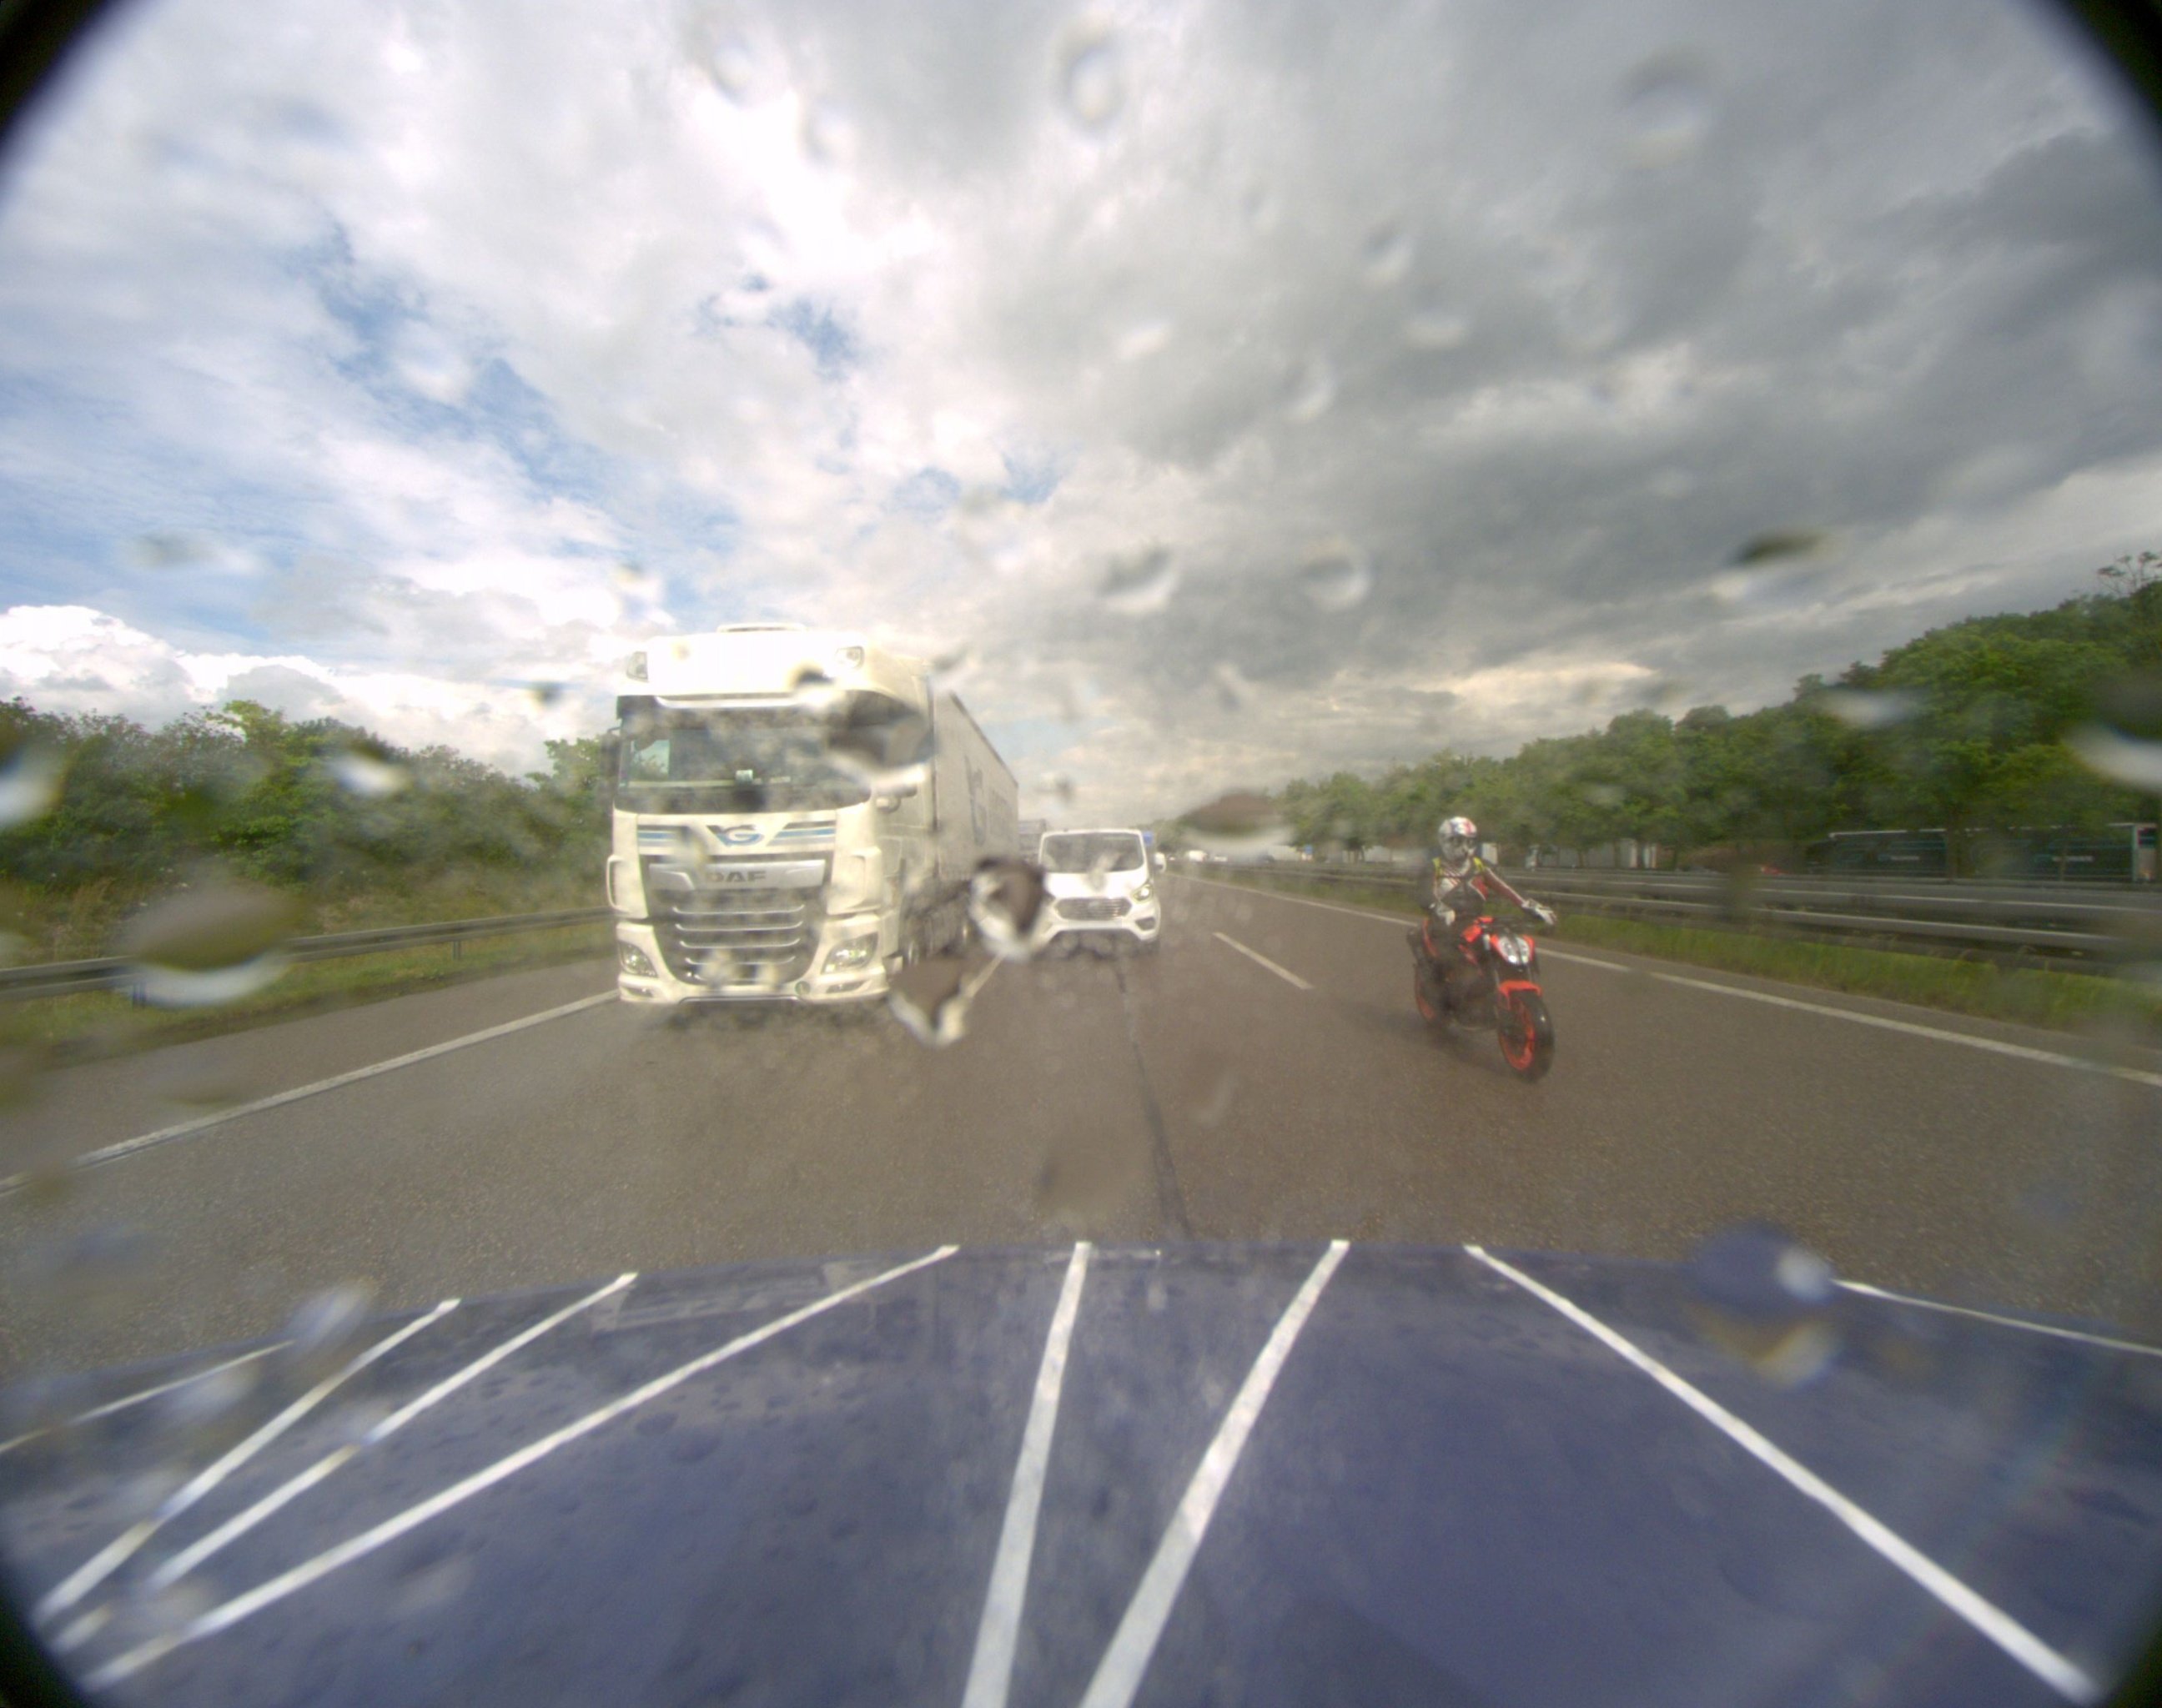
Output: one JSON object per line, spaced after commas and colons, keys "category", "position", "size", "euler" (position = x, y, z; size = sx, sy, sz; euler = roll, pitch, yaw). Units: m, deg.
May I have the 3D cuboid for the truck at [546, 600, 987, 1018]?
{"category": "truck", "position": [-3.399, -0.434, 10.482], "size": [3.293, 3.868, 6.395], "euler": [-2, 0, -1]}

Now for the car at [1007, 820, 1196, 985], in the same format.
{"category": "car", "position": [0.254, 0.600, 12.300], "size": [2.350, 2.033, 5.142], "euler": [-2, 1, 0]}

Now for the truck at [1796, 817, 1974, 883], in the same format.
{"category": "truck", "position": [57.083, -0.313, 54.407], "size": [3.797, 4.209, 8.416], "euler": [-2, 1, 1]}

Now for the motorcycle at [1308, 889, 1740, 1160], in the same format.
{"category": "motorcycle", "position": [2.852, 0.979, 5.642], "size": [1.188, 1.219, 3.193], "euler": [-2, 1, -3]}

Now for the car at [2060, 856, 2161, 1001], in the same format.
{"category": "car", "position": [14.594, 0.947, 7.923], "size": [2.056, 1.765, 5.208], "euler": [-2, 1, 0]}

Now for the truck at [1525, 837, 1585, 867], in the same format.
{"category": "truck", "position": [55.366, -0.263, 88.922], "size": [3.362, 3.254, 5.505], "euler": [-2, 1, -4]}

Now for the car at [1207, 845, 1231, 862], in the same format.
{"category": "car", "position": [17.705, -0.116, 97.561], "size": [2.179, 2.034, 4.651], "euler": [-2, 1, 0]}

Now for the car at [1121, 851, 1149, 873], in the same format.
{"category": "car", "position": [5.460, 0.811, 77.129], "size": [2.350, 2.033, 5.142], "euler": [-2, 1, 0]}

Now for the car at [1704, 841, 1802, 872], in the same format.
{"category": "car", "position": [56.716, 0.164, 64.354], "size": [2.800, 2.468, 6.209], "euler": [-2, 1, 1]}

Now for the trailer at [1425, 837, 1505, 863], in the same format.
{"category": "trailer", "position": [53.172, -0.571, 105.871], "size": [2.832, 3.385, 13.417], "euler": [-1, 0, -7]}

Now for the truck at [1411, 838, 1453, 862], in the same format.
{"category": "truck", "position": [52.271, -0.570, 113.364], "size": [2.869, 3.436, 5.893], "euler": [-2, 1, -7]}

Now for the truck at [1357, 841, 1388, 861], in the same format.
{"category": "truck", "position": [49.527, -0.465, 129.265], "size": [2.663, 3.249, 5.081], "euler": [-2, 1, -10]}

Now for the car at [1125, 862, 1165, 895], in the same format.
{"category": "car", "position": [4.447, 1.695, 53.627], "size": [2.350, 2.033, 5.142], "euler": [-2, 1, 0]}

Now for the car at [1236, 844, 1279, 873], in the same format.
{"category": "car", "position": [13.587, 0.322, 58.722], "size": [2.056, 2.034, 5.208], "euler": [-2, 1, 0]}

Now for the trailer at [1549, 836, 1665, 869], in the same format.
{"category": "trailer", "position": [55.684, -0.187, 81.072], "size": [3.356, 3.198, 12.471], "euler": [-1, 0, -2]}

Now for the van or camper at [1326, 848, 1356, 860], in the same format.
{"category": "van or camper", "position": [47.755, -0.005, 139.783], "size": [2.126, 2.252, 6.316], "euler": [-2, 0, -13]}

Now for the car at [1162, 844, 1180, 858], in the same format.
{"category": "car", "position": [13.597, -0.447, 115.150], "size": [2.179, 2.034, 4.651], "euler": [-2, 1, 0]}

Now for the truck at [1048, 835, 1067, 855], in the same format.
{"category": "truck", "position": [-4.552, -1.747, 147.419], "size": [3.218, 3.607, 10.152], "euler": [-2, 1, 0]}

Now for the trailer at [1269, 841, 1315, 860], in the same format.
{"category": "trailer", "position": [43.262, -0.776, 156.304], "size": [3.216, 3.717, 12.554], "euler": [-1, 0, -14]}

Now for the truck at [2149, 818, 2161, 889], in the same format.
{"category": "truck", "position": [56.226, -0.063, 34.973], "size": [3.797, 3.569, 7.354], "euler": [-2, 1, 1]}

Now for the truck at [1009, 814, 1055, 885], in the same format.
{"category": "truck", "position": [-3.187, -0.300, 50.102], "size": [2.650, 4.250, 6.882], "euler": [-2, 1, -3]}

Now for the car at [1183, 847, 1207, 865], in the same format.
{"category": "car", "position": [13.807, 0.254, 92.283], "size": [2.056, 2.034, 5.208], "euler": [-2, 1, 0]}

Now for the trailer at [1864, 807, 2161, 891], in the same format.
{"category": "trailer", "position": [57.011, -0.301, 46.712], "size": [3.798, 4.380, 13.801], "euler": [-1, 0, 1]}

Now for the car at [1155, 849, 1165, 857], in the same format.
{"category": "car", "position": [21.070, -0.284, 201.972], "size": [2.051, 1.880, 5.258], "euler": [-2, 1, 0]}

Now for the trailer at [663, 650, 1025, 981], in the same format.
{"category": "trailer", "position": [-3.378, -0.479, 16.265], "size": [3.292, 3.876, 14.126], "euler": [-2, 0, -1]}

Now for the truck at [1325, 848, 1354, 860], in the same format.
{"category": "truck", "position": [47.626, -0.004, 140.202], "size": [2.126, 2.252, 6.311], "euler": [-2, 0, -13]}

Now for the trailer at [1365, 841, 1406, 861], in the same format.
{"category": "trailer", "position": [50.265, -0.466, 125.528], "size": [2.588, 3.214, 7.734], "euler": [-1, 0, -10]}

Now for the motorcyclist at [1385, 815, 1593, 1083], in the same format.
{"category": "motorcyclist", "position": [2.835, 0.608, 5.399], "size": [0.883, 1.696, 1.000], "euler": [-2, 1, -2]}

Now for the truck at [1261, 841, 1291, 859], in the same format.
{"category": "truck", "position": [41.631, -0.797, 162.680], "size": [3.219, 3.683, 6.907], "euler": [-2, 1, -14]}
